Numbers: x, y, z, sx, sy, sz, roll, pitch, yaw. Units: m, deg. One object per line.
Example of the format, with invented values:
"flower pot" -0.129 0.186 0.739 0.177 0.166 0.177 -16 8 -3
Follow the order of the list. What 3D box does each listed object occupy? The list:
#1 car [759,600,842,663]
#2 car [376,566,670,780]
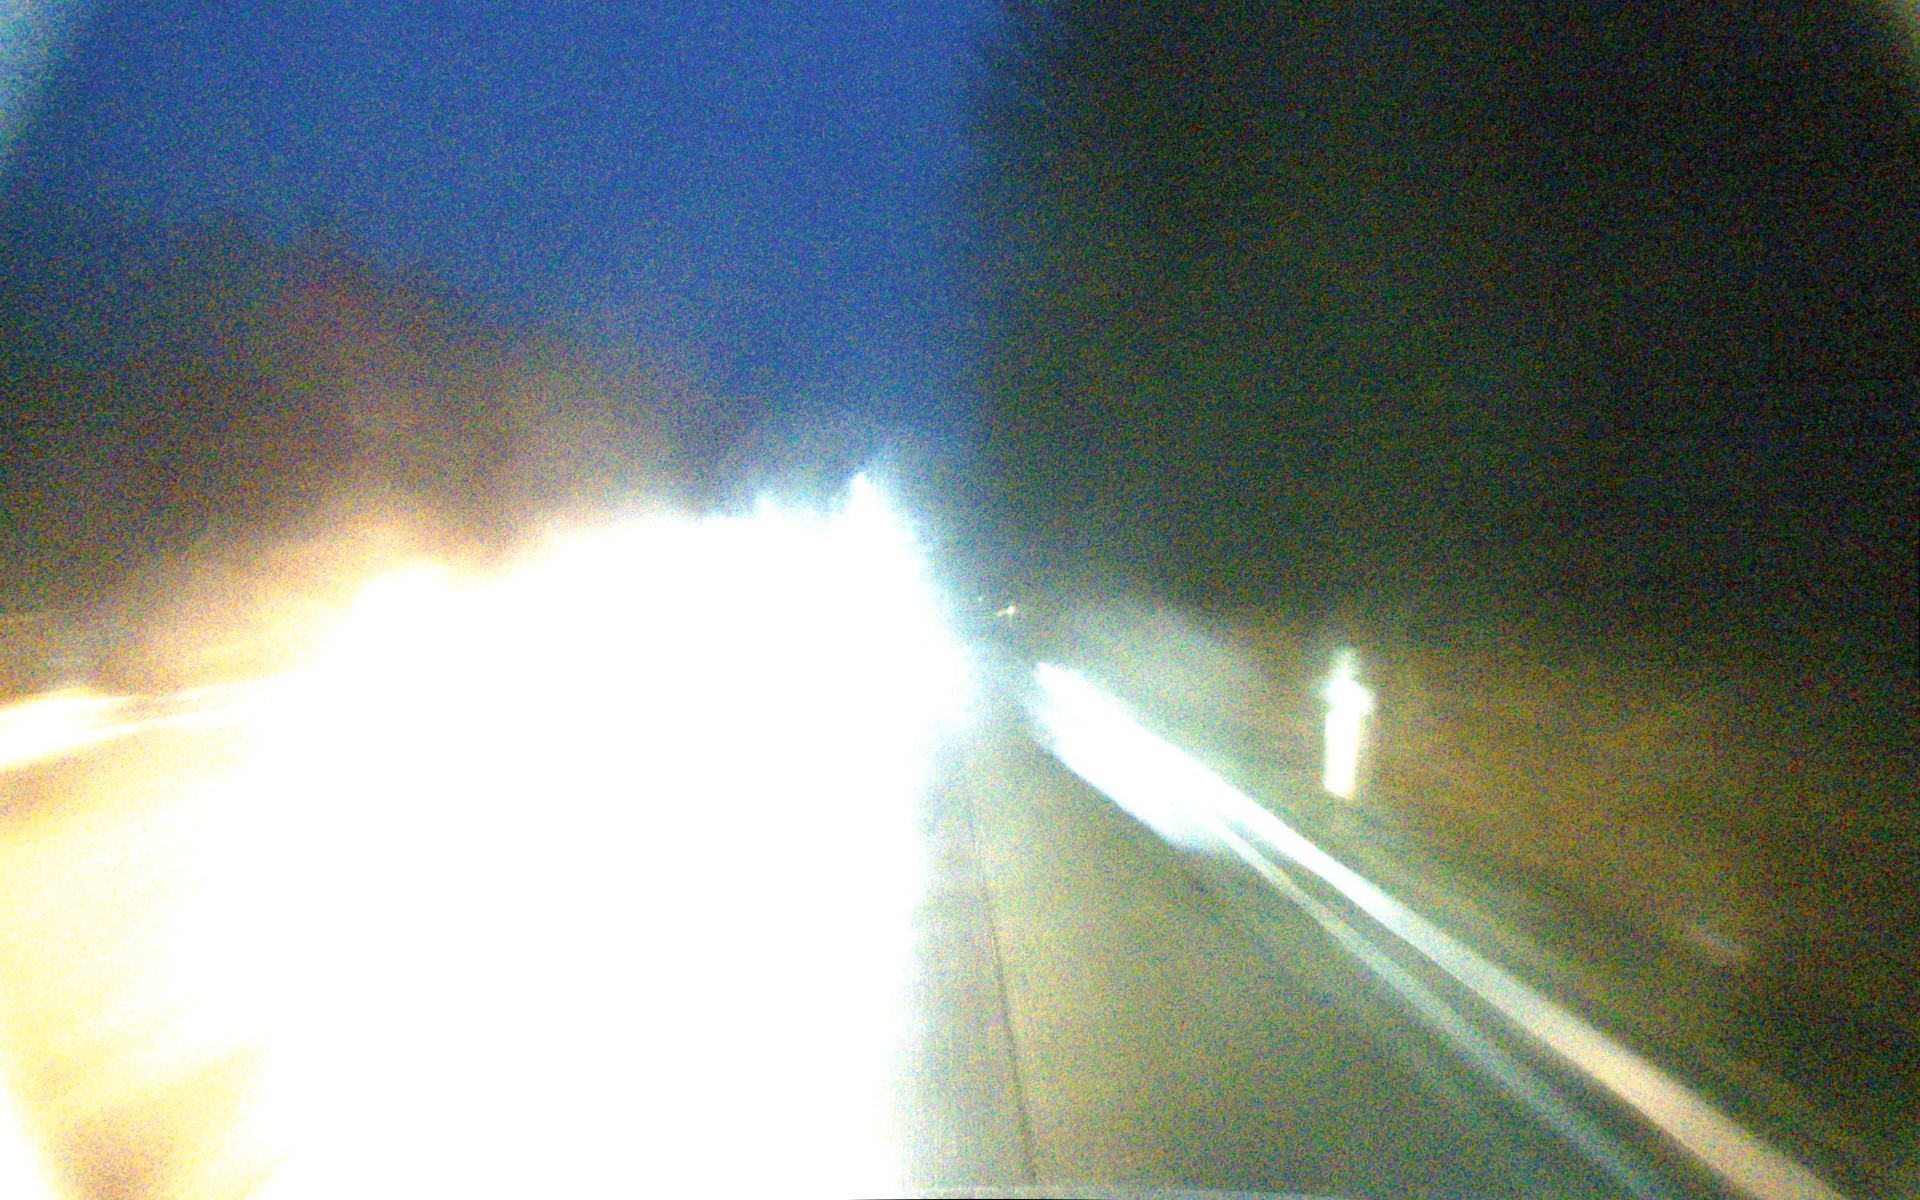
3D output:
"car" -3.932 0.756 41.435 1.799 1.497 4.390 0 0 -2
"car" -3.849 0.542 15.267 1.894 1.614 3.997 -2 2 -5
